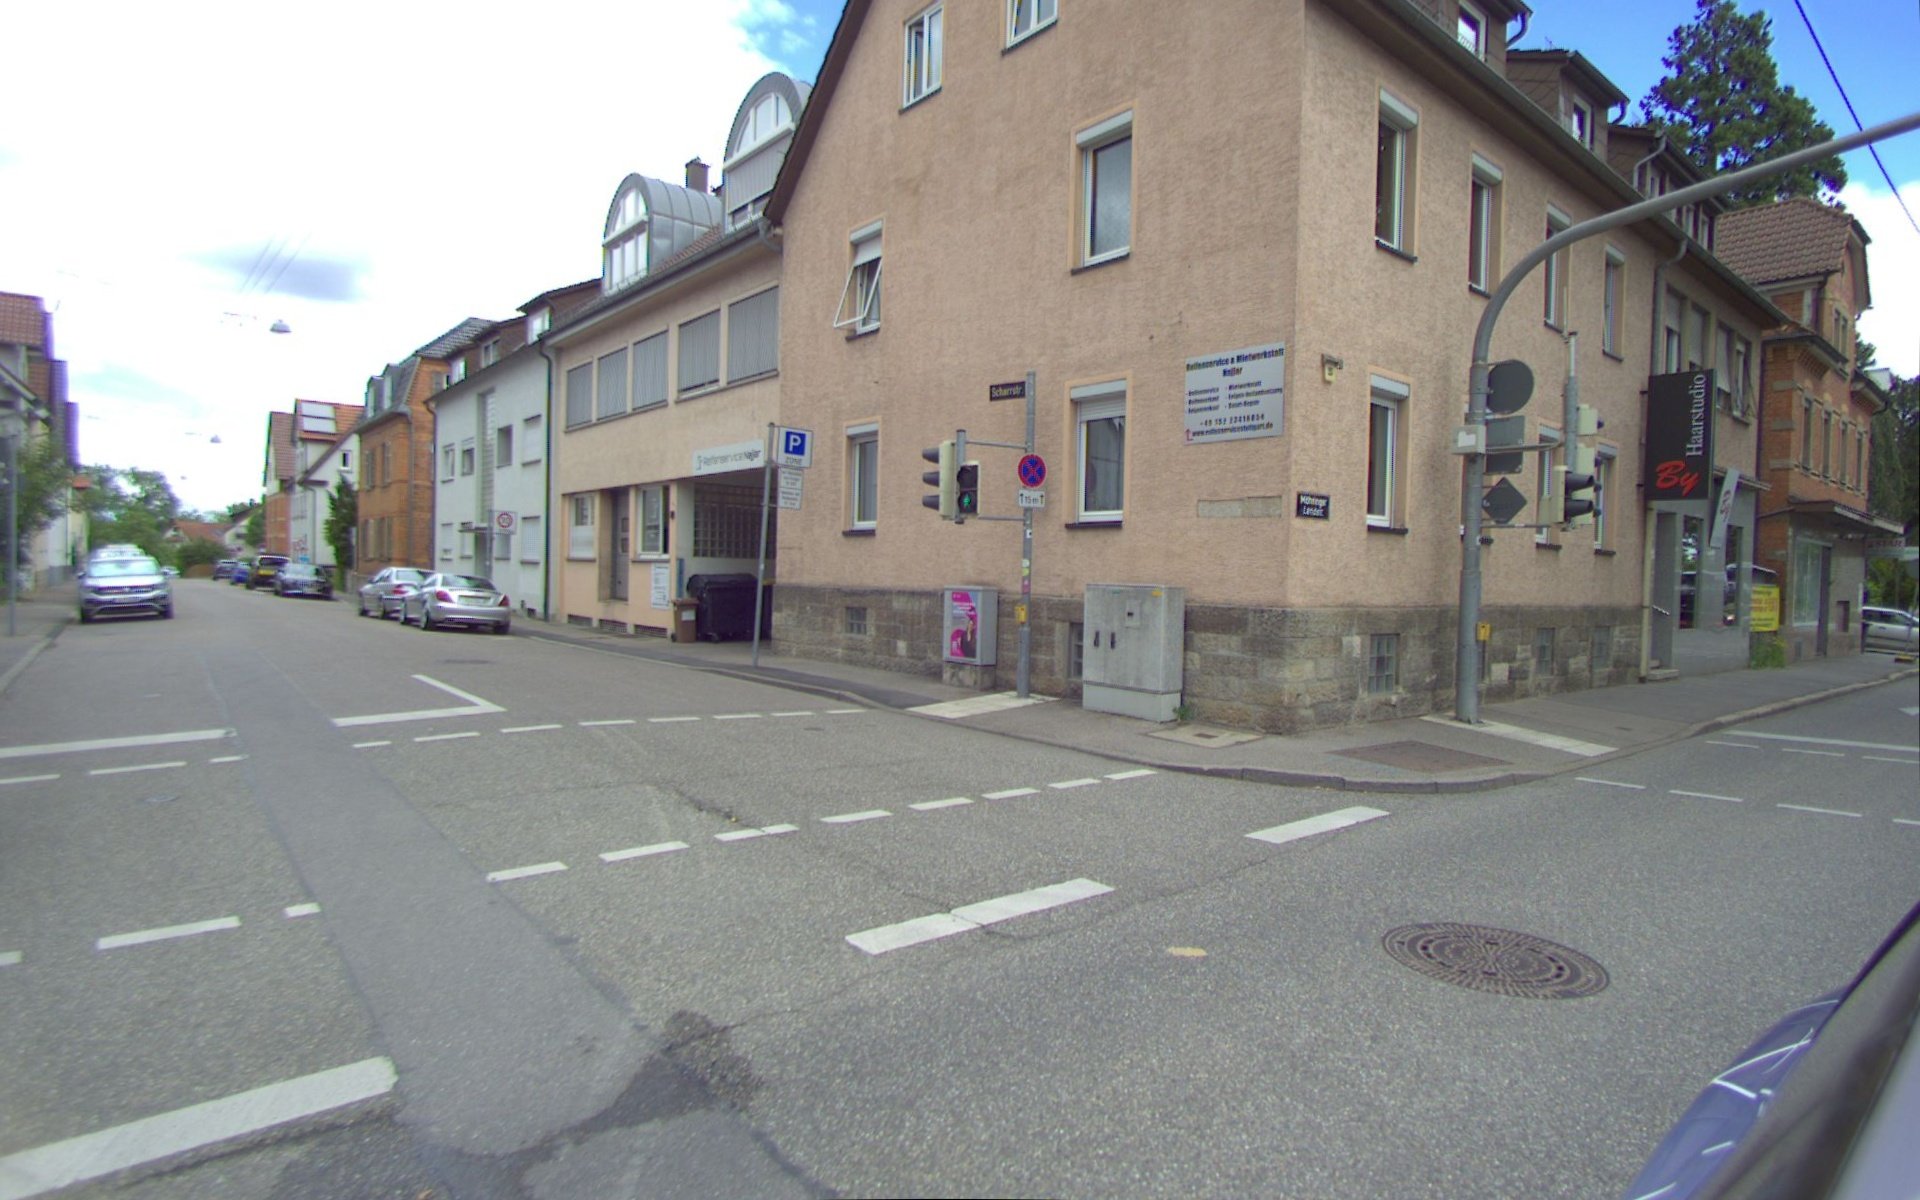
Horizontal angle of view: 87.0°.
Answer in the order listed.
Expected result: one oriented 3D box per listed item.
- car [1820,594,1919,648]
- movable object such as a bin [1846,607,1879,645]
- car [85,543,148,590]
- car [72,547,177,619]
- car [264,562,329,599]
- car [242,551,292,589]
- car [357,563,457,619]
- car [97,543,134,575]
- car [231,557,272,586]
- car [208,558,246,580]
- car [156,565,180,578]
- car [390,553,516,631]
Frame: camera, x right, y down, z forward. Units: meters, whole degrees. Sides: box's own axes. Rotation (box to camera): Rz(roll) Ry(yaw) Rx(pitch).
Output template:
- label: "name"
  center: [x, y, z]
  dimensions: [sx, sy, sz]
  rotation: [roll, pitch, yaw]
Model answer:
- label: "car"
  center: [30.998, 0.754, 33.152]
  dimensions: [1.573, 1.487, 4.039]
  rotation: [0, 6, -41]
- label: "movable object such as a bin"
  center: [27.863, 0.783, 31.245]
  dimensions: [0.611, 1.114, 0.608]
  rotation: [0, 3, -40]
- label: "car"
  center: [-35.956, -1.405, 43.113]
  dimensions: [1.965, 1.907, 3.994]
  rotation: [0, 1, -41]
- label: "car"
  center: [-20.651, -0.424, 24.989]
  dimensions: [1.857, 1.639, 3.994]
  rotation: [0, 1, -41]
- label: "car"
  center: [-28.093, -0.818, 42.805]
  dimensions: [1.845, 1.460, 3.995]
  rotation: [0, 1, -40]
- label: "car"
  center: [-36.039, -1.526, 52.585]
  dimensions: [1.844, 1.873, 3.996]
  rotation: [0, 1, -39]
- label: "car"
  center: [-14.936, -0.260, 27.241]
  dimensions: [1.695, 1.386, 3.996]
  rotation: [0, 1, -39]
- label: "car"
  center: [-59.414, -2.858, 71.189]
  dimensions: [1.965, 2.151, 3.994]
  rotation: [0, 1, -40]
- label: "car"
  center: [-42.318, -1.709, 60.423]
  dimensions: [1.690, 1.660, 3.996]
  rotation: [0, 1, -39]
- label: "car"
  center: [-54.212, -2.271, 74.812]
  dimensions: [1.965, 1.616, 3.994]
  rotation: [0, 1, -40]
- label: "car"
  center: [-79.326, -2.833, 101.360]
  dimensions: [1.770, 1.193, 3.994]
  rotation: [0, 1, -41]
- label: "car"
  center: [-11.835, -0.209, 23.515]
  dimensions: [1.760, 1.639, 3.995]
  rotation: [0, 1, -40]
